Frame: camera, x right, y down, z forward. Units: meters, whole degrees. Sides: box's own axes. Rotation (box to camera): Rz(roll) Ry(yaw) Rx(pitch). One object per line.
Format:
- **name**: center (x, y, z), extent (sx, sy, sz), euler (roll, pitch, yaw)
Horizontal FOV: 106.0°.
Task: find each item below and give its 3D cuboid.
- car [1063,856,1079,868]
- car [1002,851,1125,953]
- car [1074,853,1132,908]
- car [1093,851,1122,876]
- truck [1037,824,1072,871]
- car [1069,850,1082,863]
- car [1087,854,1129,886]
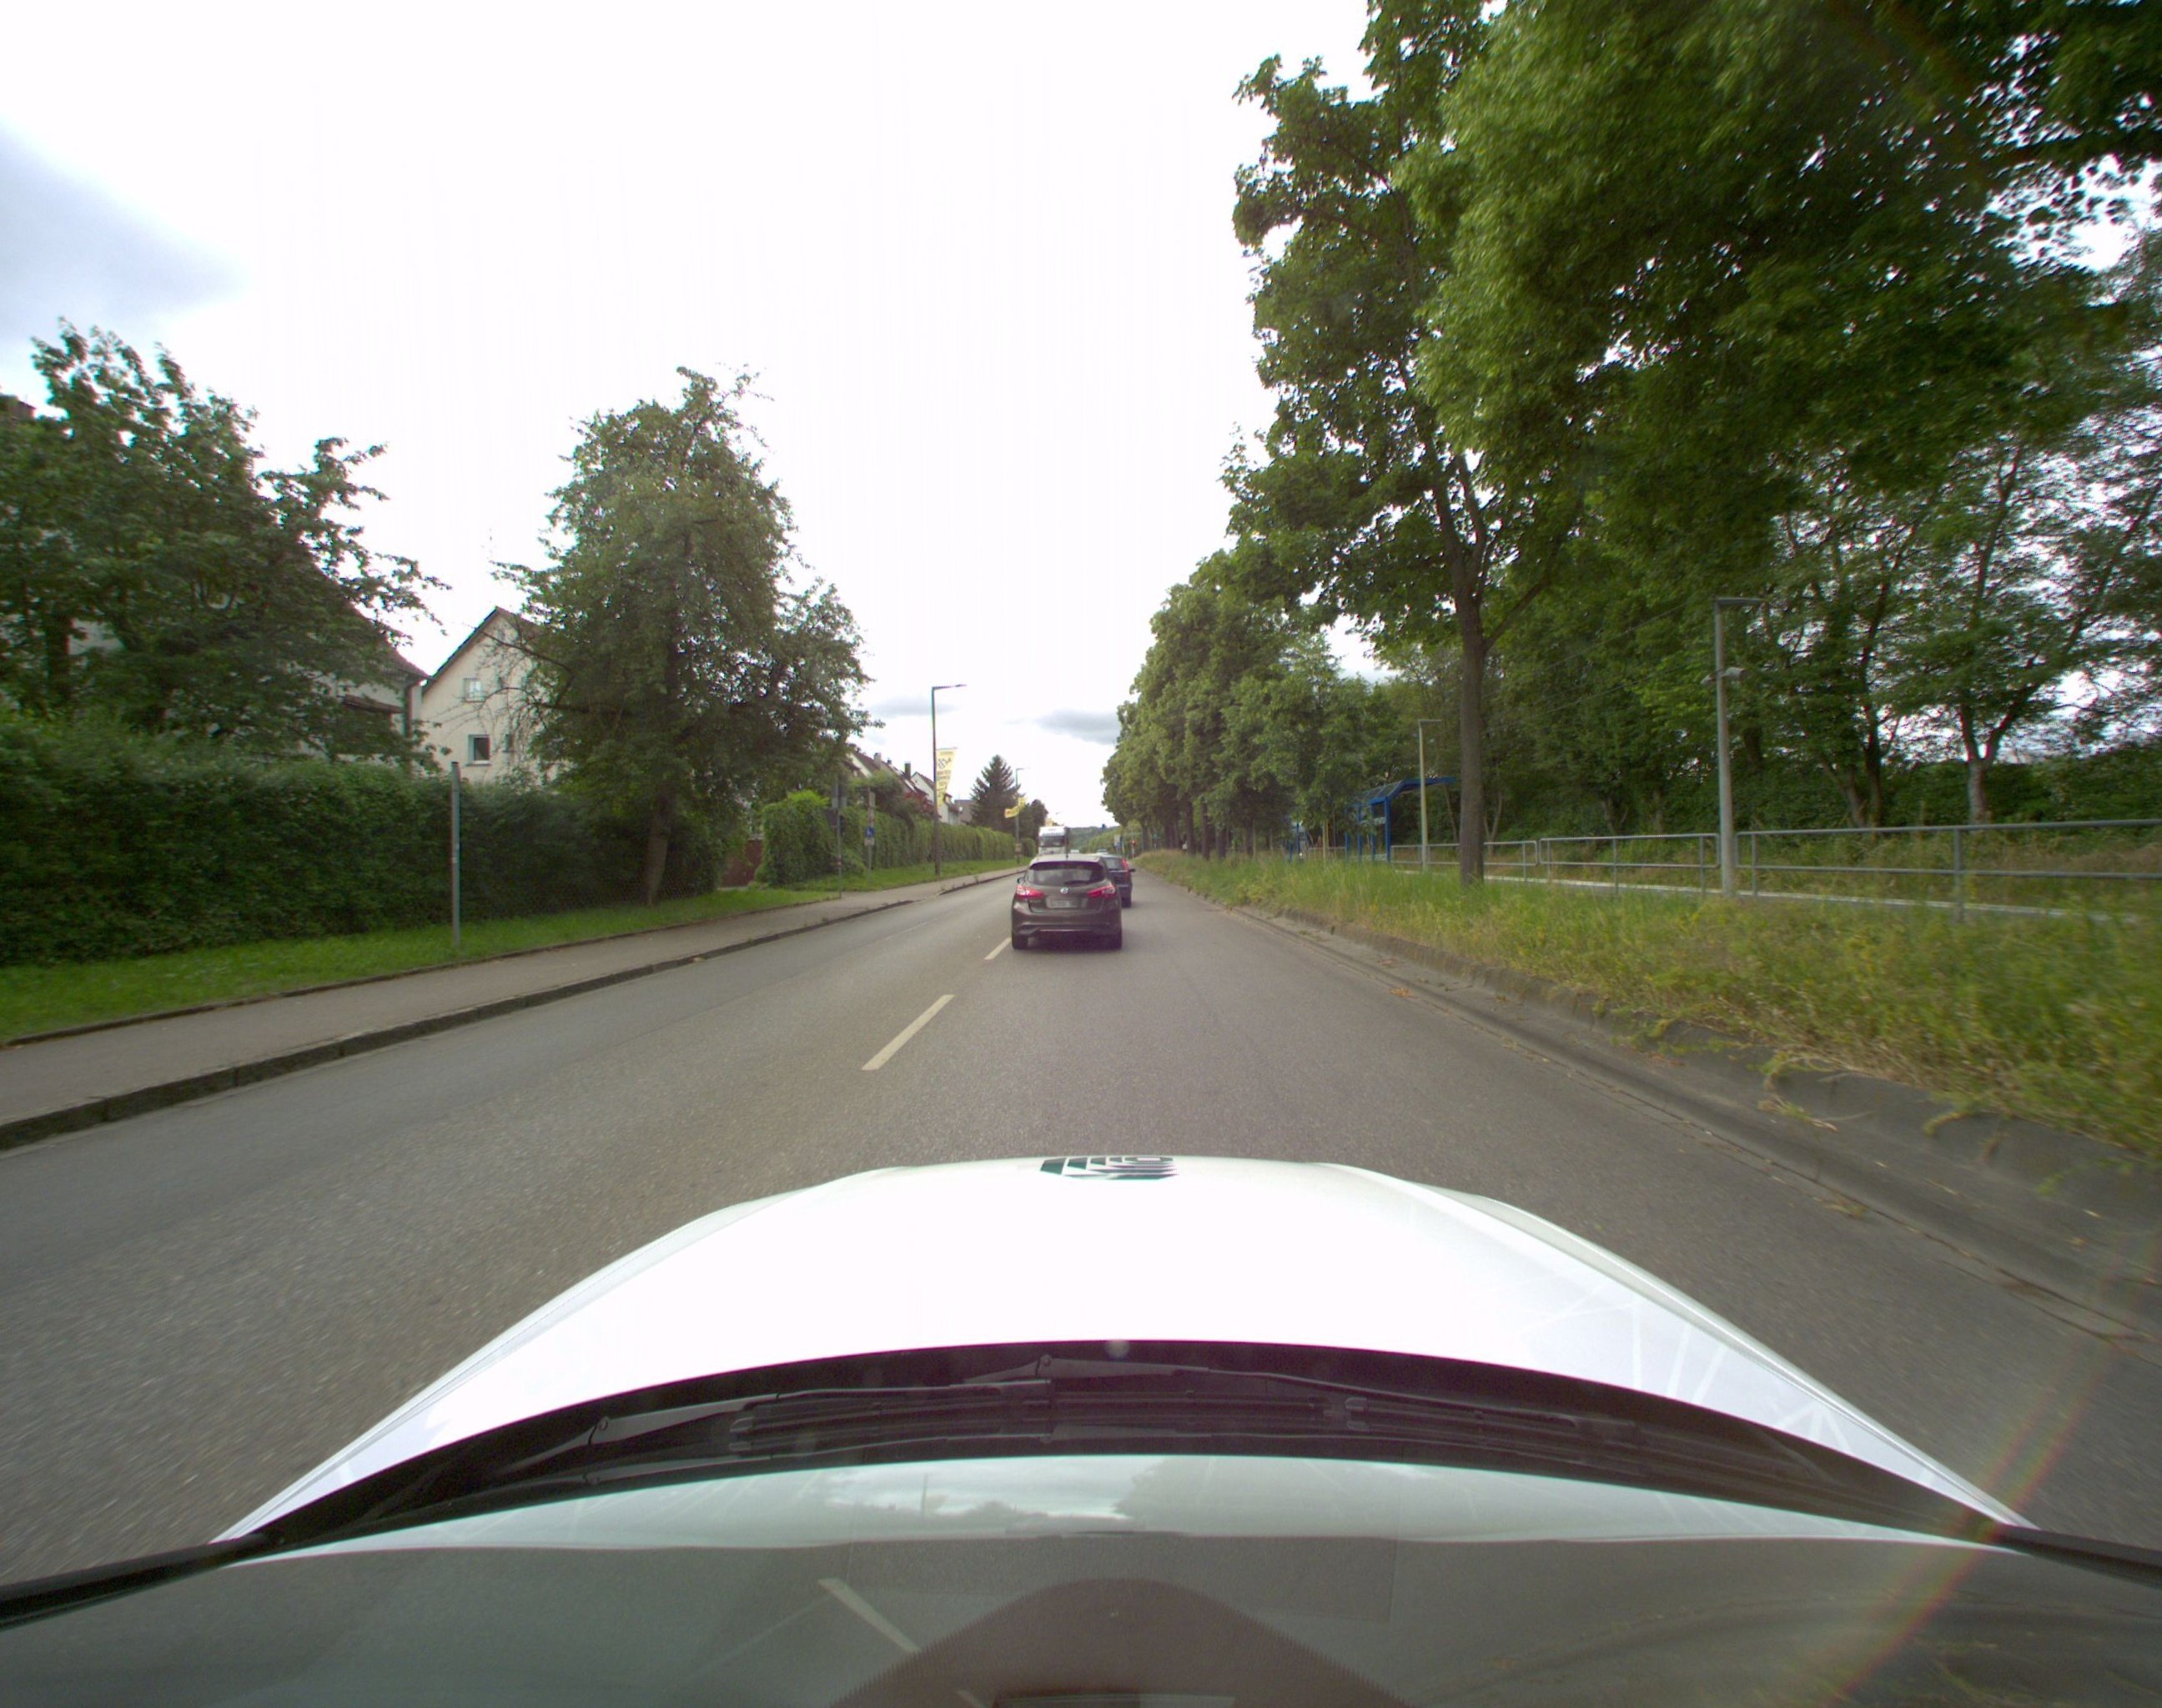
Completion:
- **car**: center (-1.151, 0.927, 98.596), extent (1.727, 1.375, 4.240), euler (-2, 0, 1)
- **car**: center (-0.196, 0.725, 14.605), extent (1.828, 1.519, 4.484), euler (-1, 0, 2)
- **car**: center (0.659, 0.718, 23.963), extent (1.533, 1.478, 3.765), euler (-1, 0, 2)
- **car**: center (1.723, 0.571, 52.524), extent (1.785, 1.538, 4.002), euler (-1, 0, 2)
- **truck**: center (-2.386, -0.510, 76.987), extent (2.541, 4.043, 10.620), euler (-3, -1, 1)
- **car**: center (-0.830, 0.359, 129.361), extent (1.901, 1.932, 4.909), euler (-2, 0, -1)
- **car**: center (1.250, 0.701, 37.796), extent (1.785, 1.397, 4.002), euler (-1, 0, 2)
